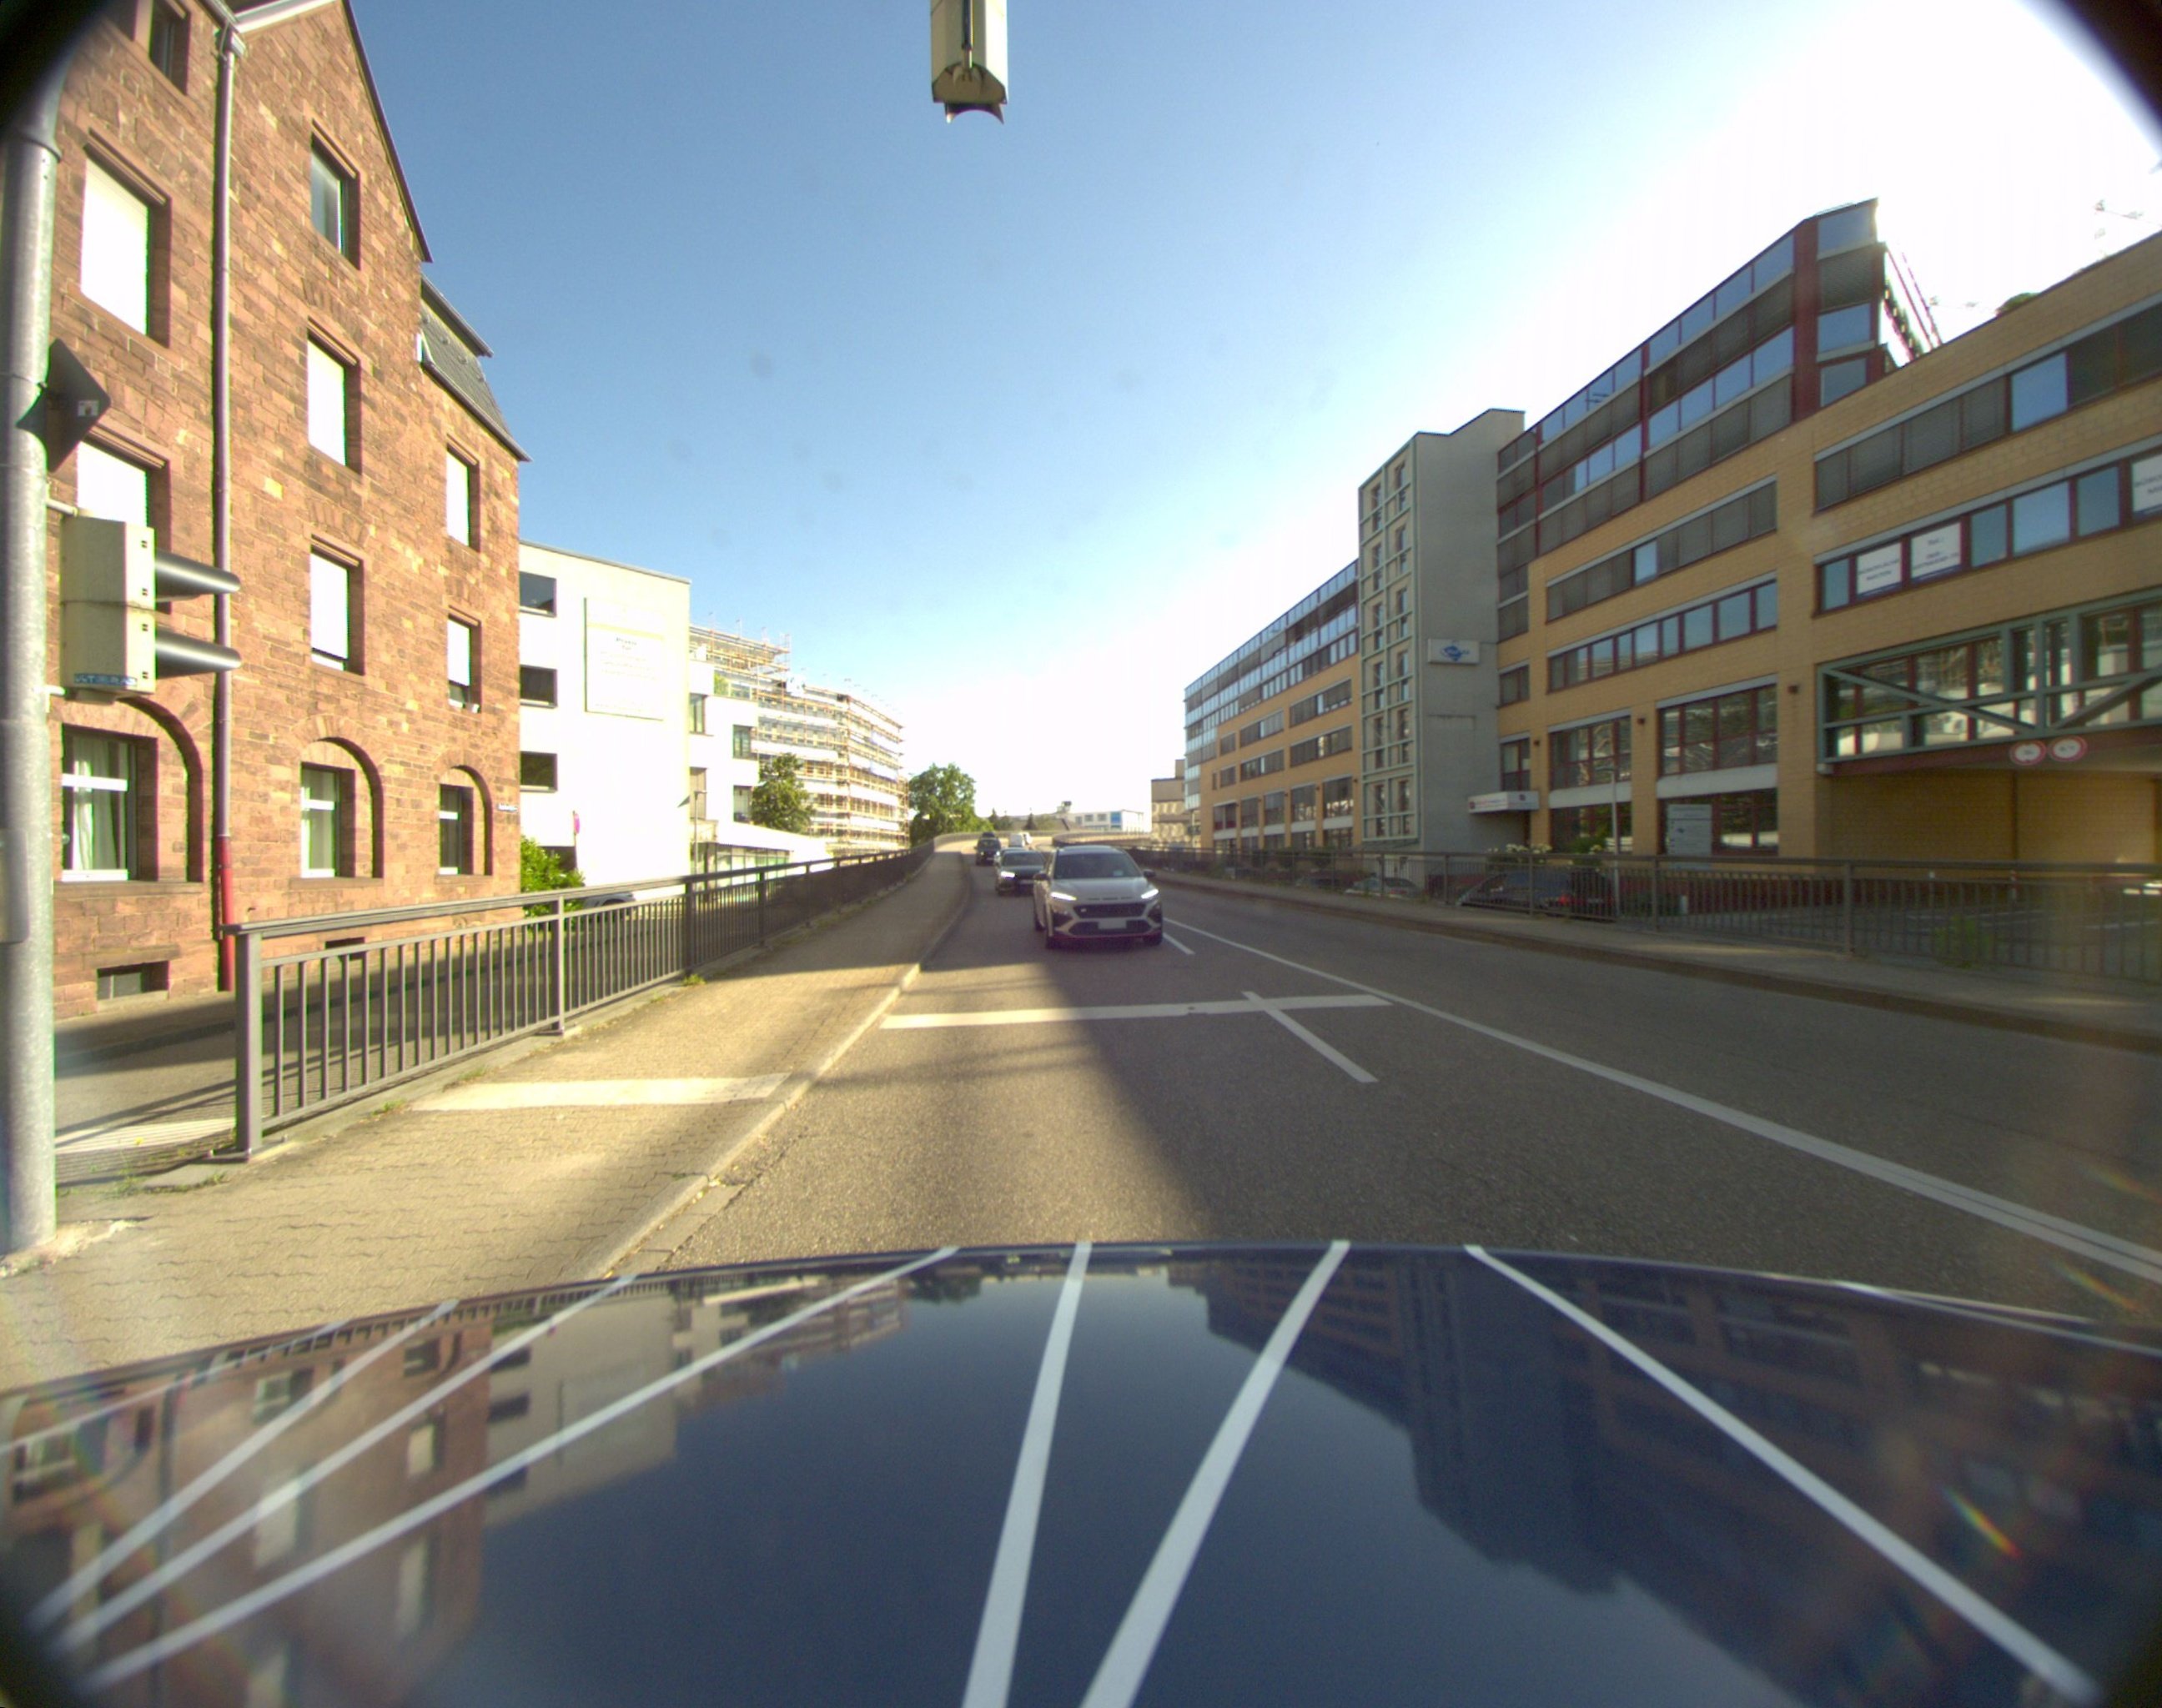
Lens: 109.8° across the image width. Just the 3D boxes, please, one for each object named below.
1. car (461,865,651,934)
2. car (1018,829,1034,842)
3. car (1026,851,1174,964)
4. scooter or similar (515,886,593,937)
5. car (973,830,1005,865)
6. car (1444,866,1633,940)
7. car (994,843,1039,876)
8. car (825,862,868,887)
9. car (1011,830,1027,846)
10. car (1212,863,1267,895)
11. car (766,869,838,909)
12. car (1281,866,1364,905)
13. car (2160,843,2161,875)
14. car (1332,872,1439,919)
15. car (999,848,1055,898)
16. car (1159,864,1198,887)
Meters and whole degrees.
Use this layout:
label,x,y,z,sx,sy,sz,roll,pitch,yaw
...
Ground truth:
label,x,y,z,sx,sy,sz,roll,pitch,yaw
car,-16.601,1.346,24.223,1.823,1.757,4.658,1,2,43
car,-7.519,-2.530,104.014,1.824,1.594,4.000,-1,0,1
car,0.139,0.757,13.072,1.850,1.561,4.217,-1,1,-8
scooter or similar,-13.954,1.512,20.168,1.463,1.212,0.784,-3,1,-13
car,-6.326,-0.478,51.918,1.911,2.202,4.592,-2,3,-10
car,12.745,1.270,21.581,1.957,1.747,4.683,-1,0,-11
car,-3.401,0.224,39.401,1.851,1.527,4.502,-2,2,-10
car,-14.790,1.264,48.155,1.850,1.526,3.998,0,0,-6
car,-7.344,-1.888,89.247,1.815,1.791,5.118,0,0,-6
car,9.286,1.432,44.808,2.000,1.714,3.998,0,0,-6
car,-12.513,1.521,34.372,1.850,1.422,4.678,-1,2,-5
car,10.828,1.387,34.422,1.826,1.594,4.353,0,0,-9
car,54.271,0.235,37.151,3.159,1.564,1.639,0,-1,-37
car,11.540,1.527,29.183,1.826,1.594,4.353,0,0,-9
car,-1.930,0.583,25.969,1.722,1.483,4.165,-1,2,-6
car,7.245,1.563,56.620,2.000,1.652,3.998,0,0,-6
